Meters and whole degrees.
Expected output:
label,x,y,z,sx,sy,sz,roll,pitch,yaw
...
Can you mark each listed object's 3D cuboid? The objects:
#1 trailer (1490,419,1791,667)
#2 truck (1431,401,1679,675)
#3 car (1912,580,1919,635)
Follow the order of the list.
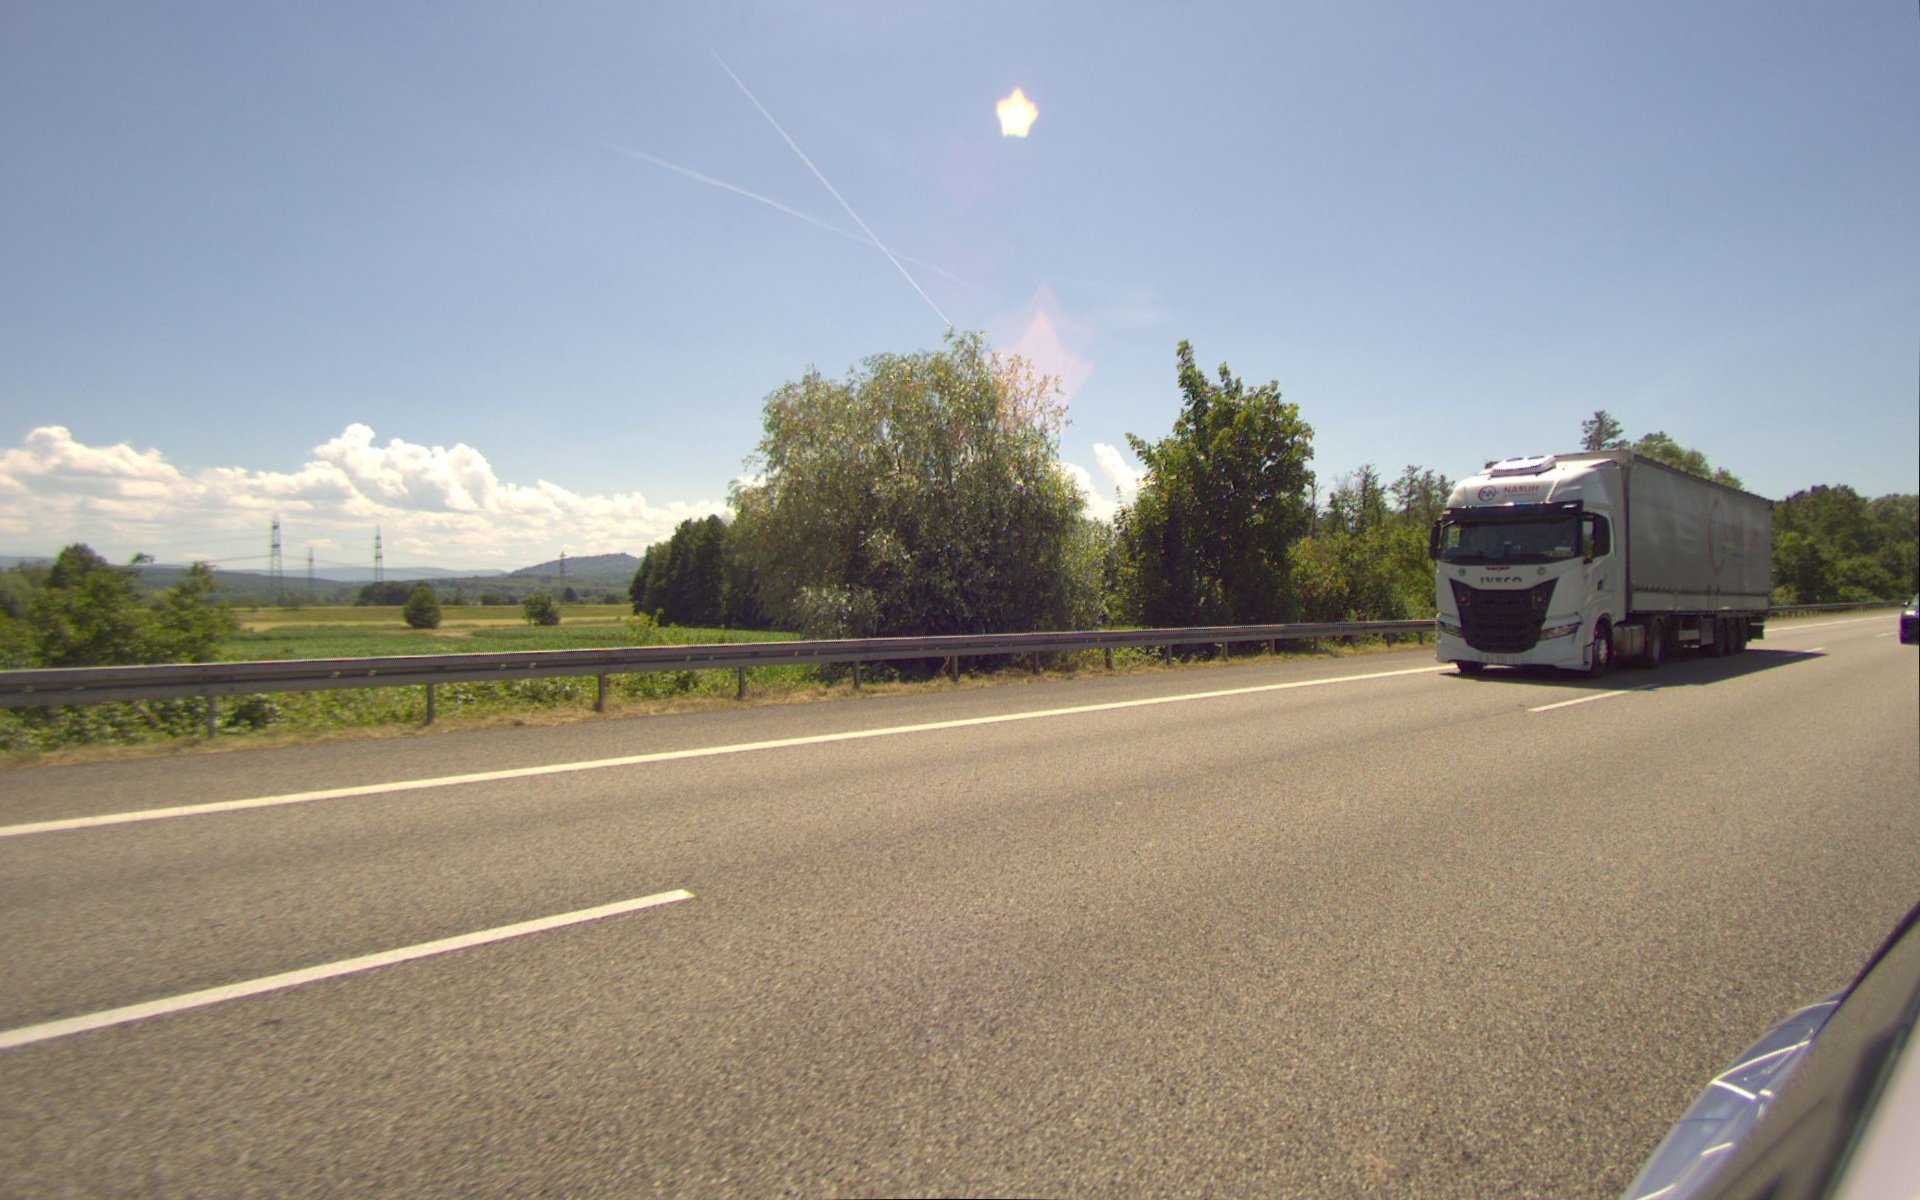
label,x,y,z,sx,sy,sz,roll,pitch,yaw
trailer,16.754,-1.110,24.106,13.915,4.528,2.539,-1,0,-42
truck,11.556,-1.050,19.480,5.476,4.528,2.539,0,0,-41
car,31.511,0.212,31.643,5.672,1.645,2.047,0,0,-42
